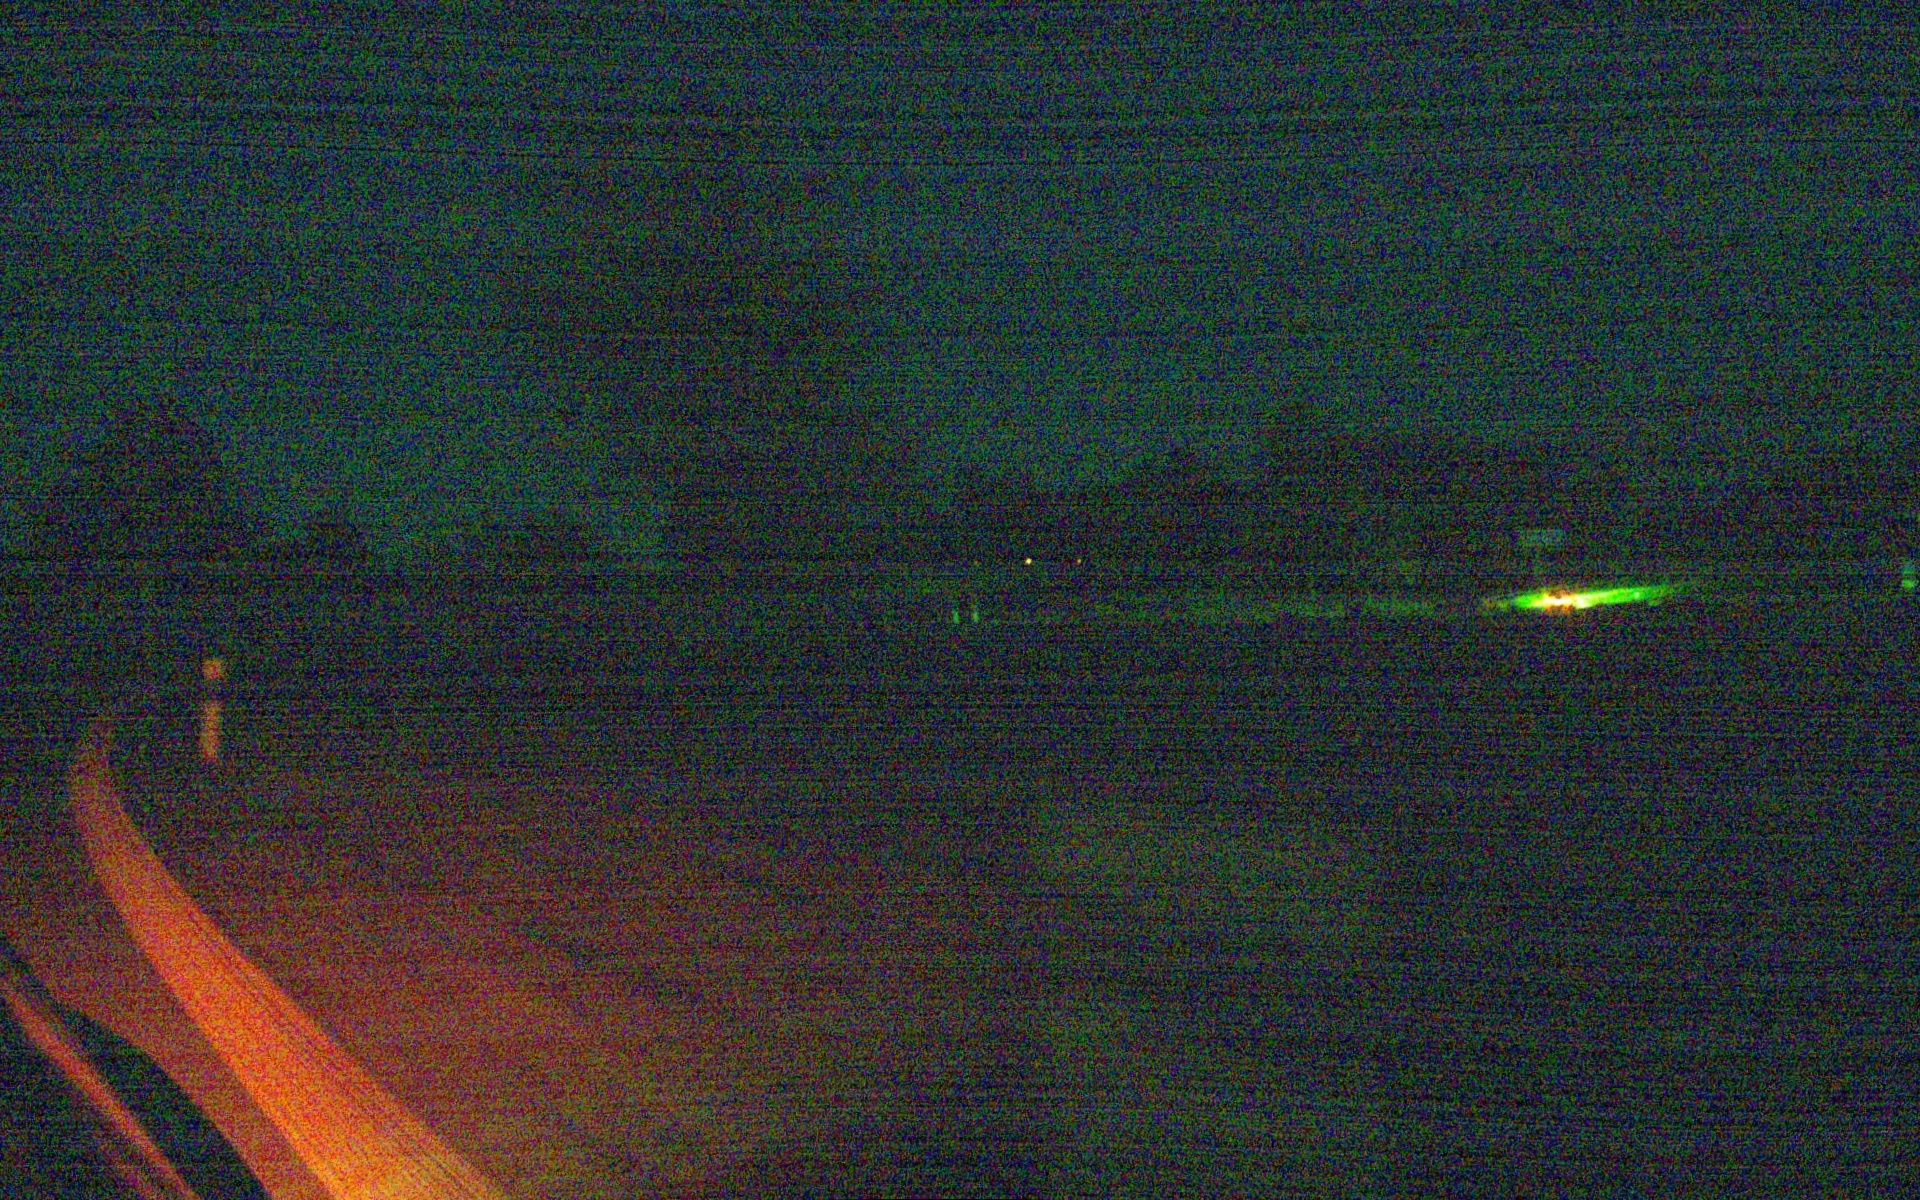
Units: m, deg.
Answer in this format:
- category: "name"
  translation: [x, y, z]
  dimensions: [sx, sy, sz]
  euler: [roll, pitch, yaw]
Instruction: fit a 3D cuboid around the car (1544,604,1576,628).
- category: "car"
  translation: [46.759, 1.230, 78.925]
  dimensions: [1.868, 1.798, 3.962]
  euler: [1, 0, 28]
